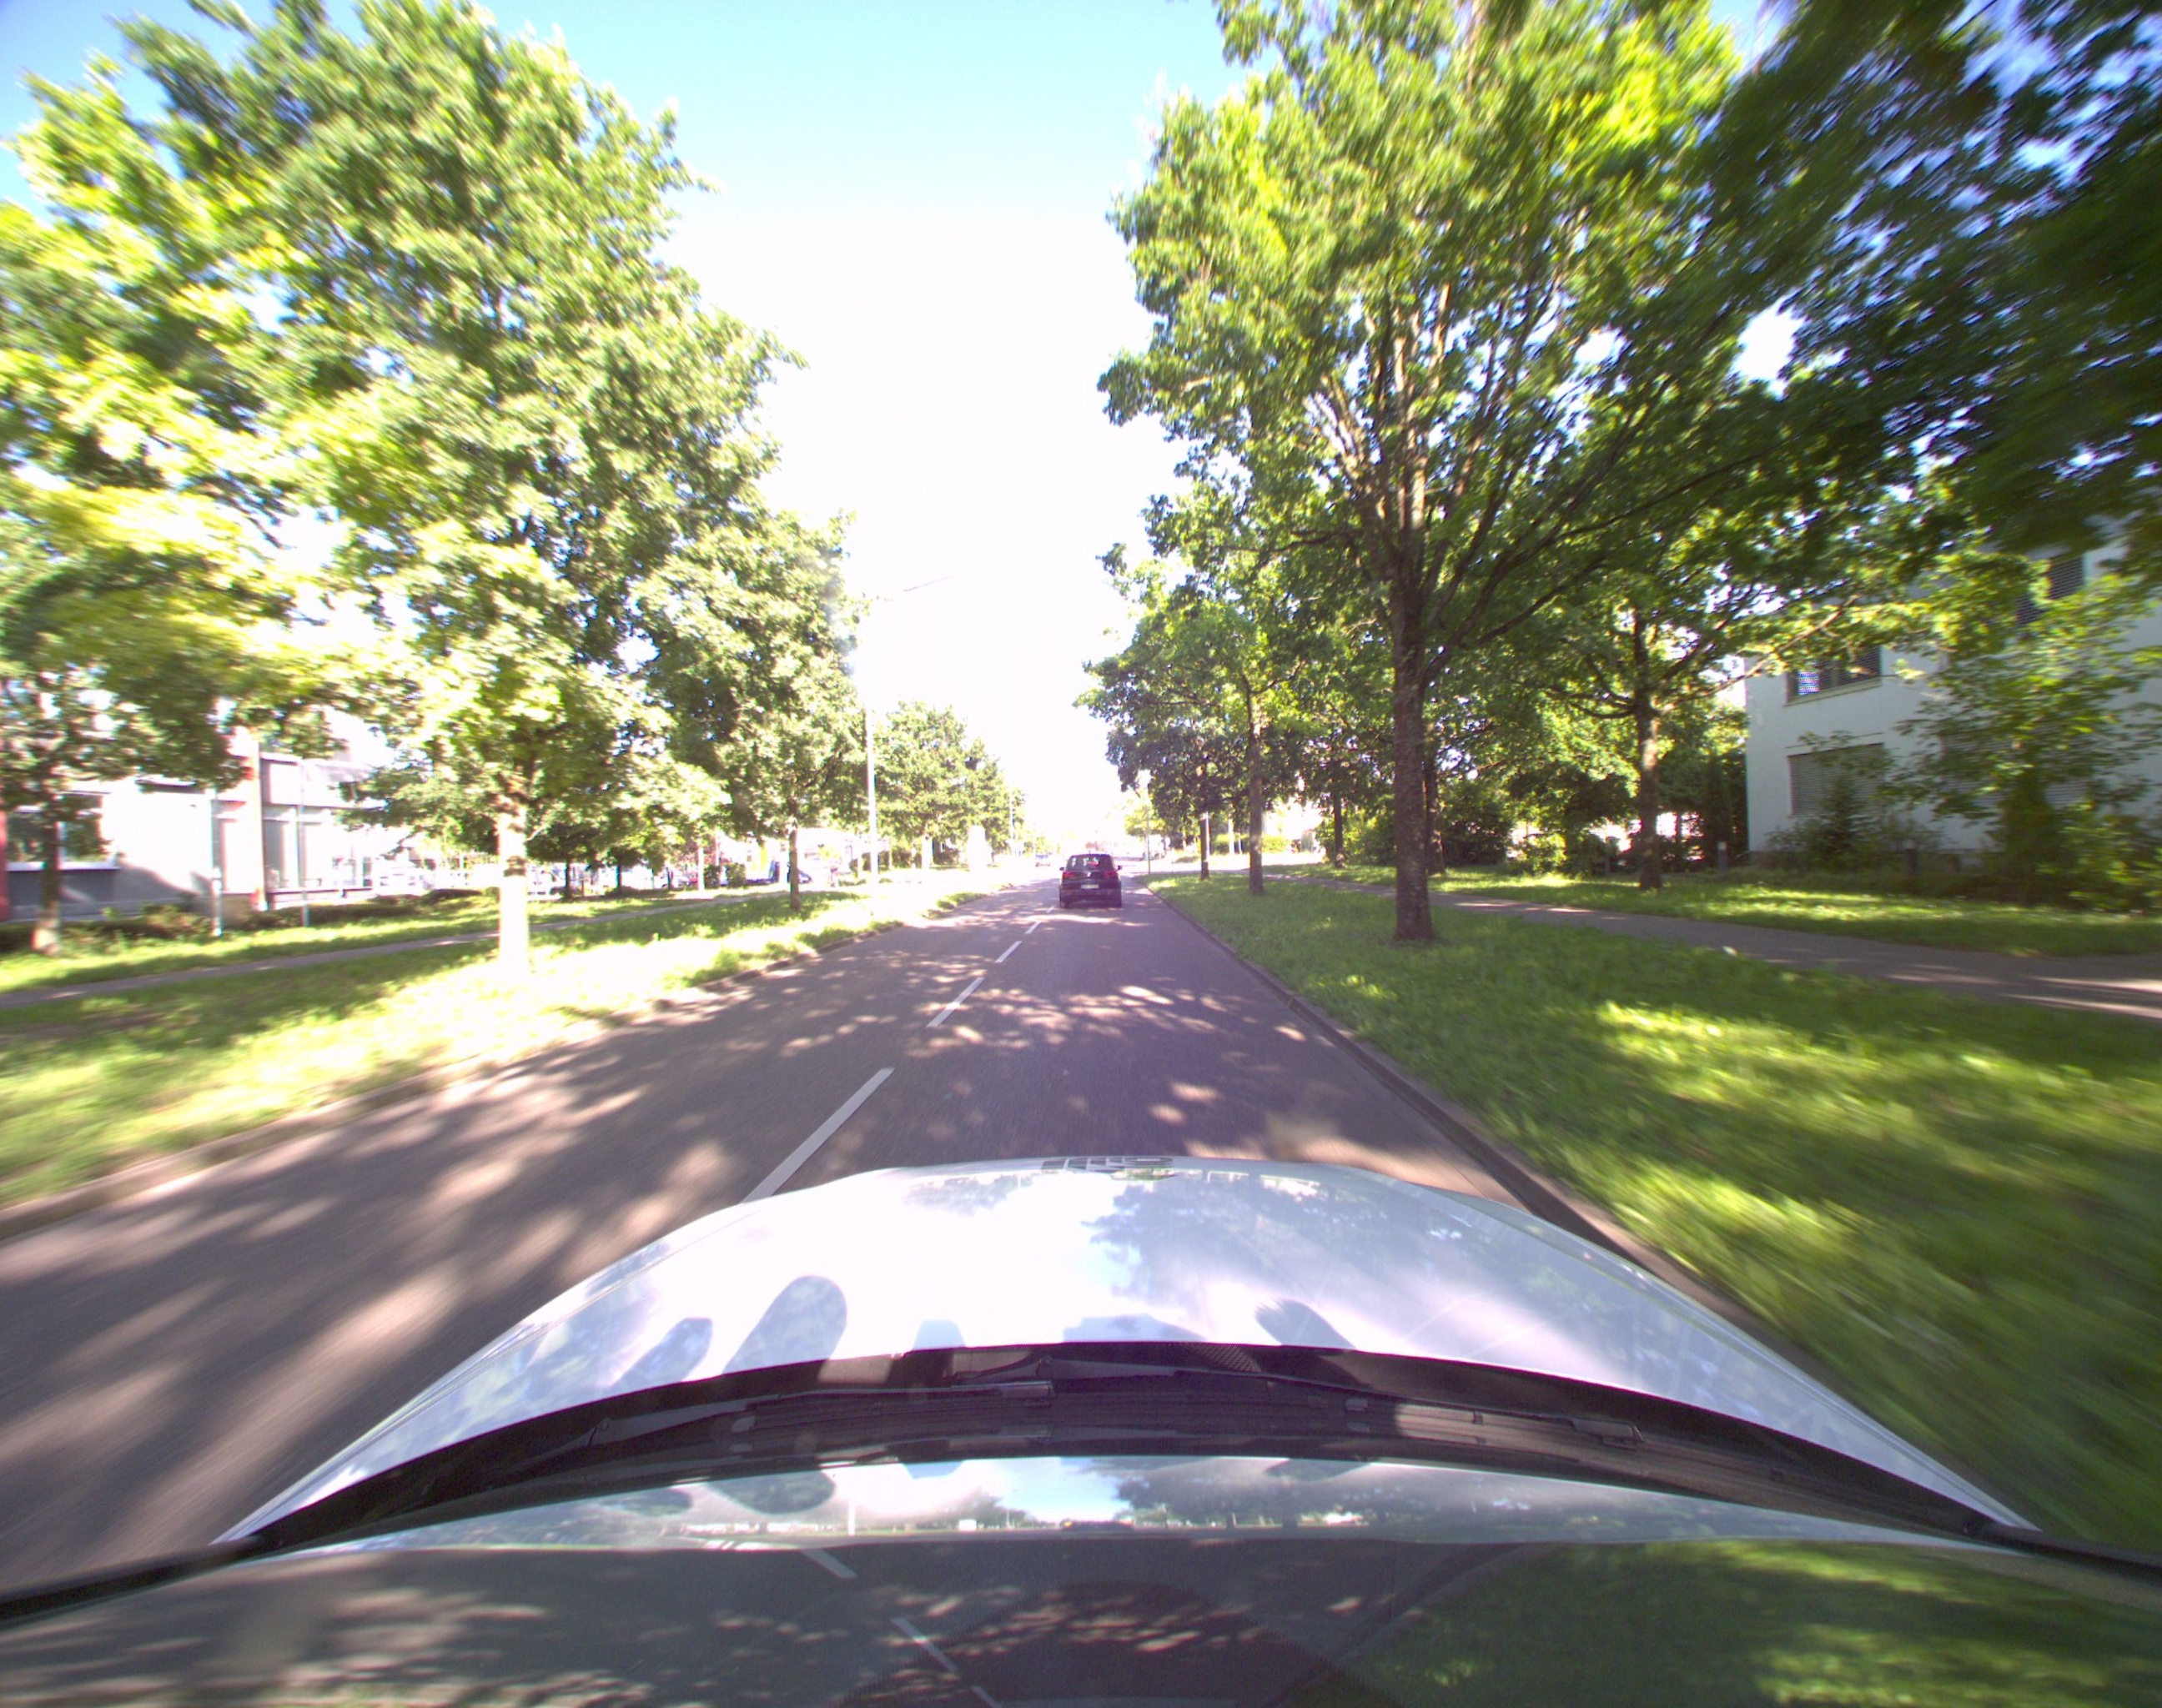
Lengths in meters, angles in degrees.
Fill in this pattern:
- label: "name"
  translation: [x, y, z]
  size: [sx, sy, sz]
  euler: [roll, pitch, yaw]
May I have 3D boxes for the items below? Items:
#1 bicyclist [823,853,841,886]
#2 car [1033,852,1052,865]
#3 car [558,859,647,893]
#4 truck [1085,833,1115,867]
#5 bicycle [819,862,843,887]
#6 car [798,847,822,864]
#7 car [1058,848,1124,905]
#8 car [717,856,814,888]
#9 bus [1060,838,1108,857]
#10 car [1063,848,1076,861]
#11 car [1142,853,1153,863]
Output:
- label: "bicyclist"
  translation: [-14.216, 0.870, 46.489]
  size: [0.683, 1.831, 0.934]
  euler: [0, 0, 1]
- label: "car"
  translation: [-4.577, 0.572, 97.669]
  size: [1.986, 1.455, 4.001]
  euler: [-2, 0, 1]
- label: "car"
  translation: [-24.263, 1.101, 41.402]
  size: [3.341, 1.642, 2.004]
  euler: [0, 0, 7]
- label: "truck"
  translation: [2.033, -0.444, 83.209]
  size: [2.501, 3.243, 8.162]
  euler: [-2, 0, 4]
- label: "bicycle"
  translation: [-14.244, 1.151, 46.424]
  size: [0.714, 1.321, 1.992]
  euler: [0, 0, 2]
- label: "car"
  translation: [-35.901, 0.175, 108.018]
  size: [1.990, 2.236, 3.995]
  euler: [-2, 0, -4]
- label: "car"
  translation: [0.390, 0.638, 25.214]
  size: [1.774, 1.633, 4.005]
  euler: [0, 0, 4]
- label: "car"
  translation: [-21.118, 1.191, 54.723]
  size: [5.787, 2.013, 1.995]
  euler: [0, 0, -8]
- label: "bus"
  translation: [0.626, -1.281, 160.819]
  size: [9.095, 3.778, 3.379]
  euler: [0, 0, -7]
- label: "car"
  translation: [-1.855, 0.096, 135.366]
  size: [1.989, 2.013, 3.995]
  euler: [0, 0, -3]
- label: "car"
  translation: [9.526, 0.595, 116.585]
  size: [1.446, 1.406, 2.858]
  euler: [0, 0, 3]
